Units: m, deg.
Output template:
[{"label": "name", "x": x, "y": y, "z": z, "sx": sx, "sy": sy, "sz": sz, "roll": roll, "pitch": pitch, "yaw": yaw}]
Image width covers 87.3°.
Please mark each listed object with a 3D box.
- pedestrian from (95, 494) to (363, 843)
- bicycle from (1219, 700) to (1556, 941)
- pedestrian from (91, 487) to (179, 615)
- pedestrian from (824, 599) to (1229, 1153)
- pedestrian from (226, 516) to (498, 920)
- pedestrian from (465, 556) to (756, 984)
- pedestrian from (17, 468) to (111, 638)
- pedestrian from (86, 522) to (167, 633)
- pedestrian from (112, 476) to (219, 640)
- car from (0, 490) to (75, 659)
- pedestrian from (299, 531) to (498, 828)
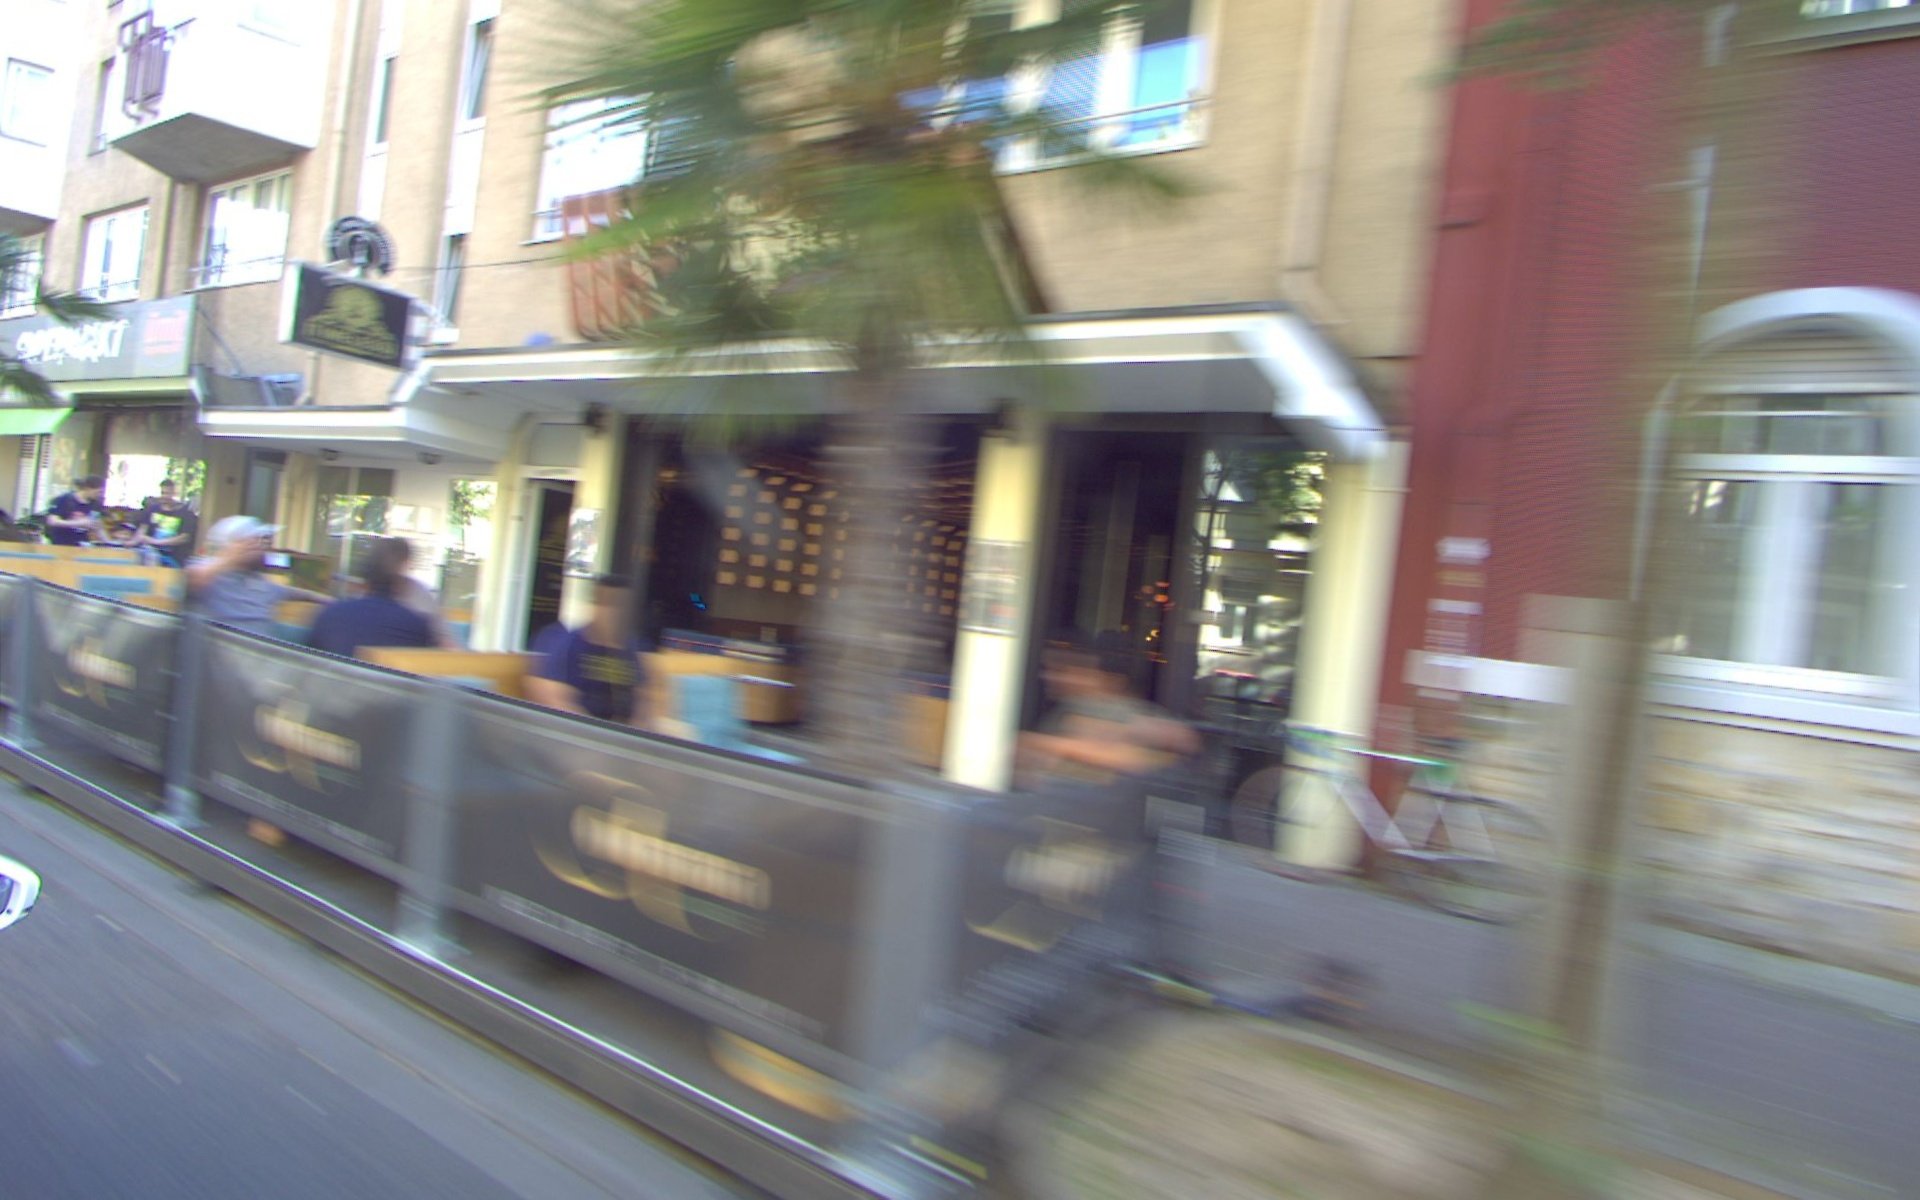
[{"label": "pedestrian", "x": -3.706, "y": 0.311, "z": 5.104, "sx": 0.963, "sy": 1.555, "sz": 0.651, "roll": 7, "pitch": 1, "yaw": 30}, {"label": "bicycle", "x": 2.462, "y": 1.217, "z": 5.897, "sx": 1.673, "sy": 1.014, "sz": 0.474, "roll": 7, "pitch": 1, "yaw": 32}, {"label": "pedestrian", "x": -11.459, "y": -0.680, "z": 13.980, "sx": 0.749, "sy": 1.662, "sz": 0.617, "roll": 7, "pitch": 1, "yaw": 32}, {"label": "pedestrian", "x": 0.273, "y": 0.851, "z": 3.633, "sx": 0.878, "sy": 1.555, "sz": 1.056, "roll": 7, "pitch": 1, "yaw": 36}, {"label": "pedestrian", "x": -2.636, "y": 0.466, "z": 4.423, "sx": 0.747, "sy": 1.555, "sz": 0.797, "roll": 6, "pitch": 1, "yaw": -44}, {"label": "pedestrian", "x": -1.466, "y": 0.652, "z": 4.250, "sx": 0.764, "sy": 1.555, "sz": 0.693, "roll": 7, "pitch": 1, "yaw": 33}, {"label": "pedestrian", "x": -9.676, "y": -0.501, "z": 10.869, "sx": 0.614, "sy": 1.717, "sz": 0.753, "roll": 6, "pitch": 1, "yaw": -43}, {"label": "pedestrian", "x": -9.372, "y": -0.247, "z": 11.322, "sx": 0.437, "sy": 1.177, "sz": 0.499, "roll": 6, "pitch": 1, "yaw": -14}, {"label": "pedestrian", "x": -8.795, "y": -0.451, "z": 11.151, "sx": 0.619, "sy": 1.717, "sz": 0.503, "roll": 6, "pitch": 1, "yaw": -5}, {"label": "car", "x": -10.815, "y": -0.467, "z": 9.904, "sx": 4.830, "sy": 1.491, "sz": 1.822, "roll": 7, "pitch": 2, "yaw": 32}, {"label": "pedestrian", "x": -3.248, "y": 0.432, "z": 5.814, "sx": 0.709, "sy": 1.555, "sz": 0.760, "roll": 6, "pitch": 1, "yaw": -44}]
